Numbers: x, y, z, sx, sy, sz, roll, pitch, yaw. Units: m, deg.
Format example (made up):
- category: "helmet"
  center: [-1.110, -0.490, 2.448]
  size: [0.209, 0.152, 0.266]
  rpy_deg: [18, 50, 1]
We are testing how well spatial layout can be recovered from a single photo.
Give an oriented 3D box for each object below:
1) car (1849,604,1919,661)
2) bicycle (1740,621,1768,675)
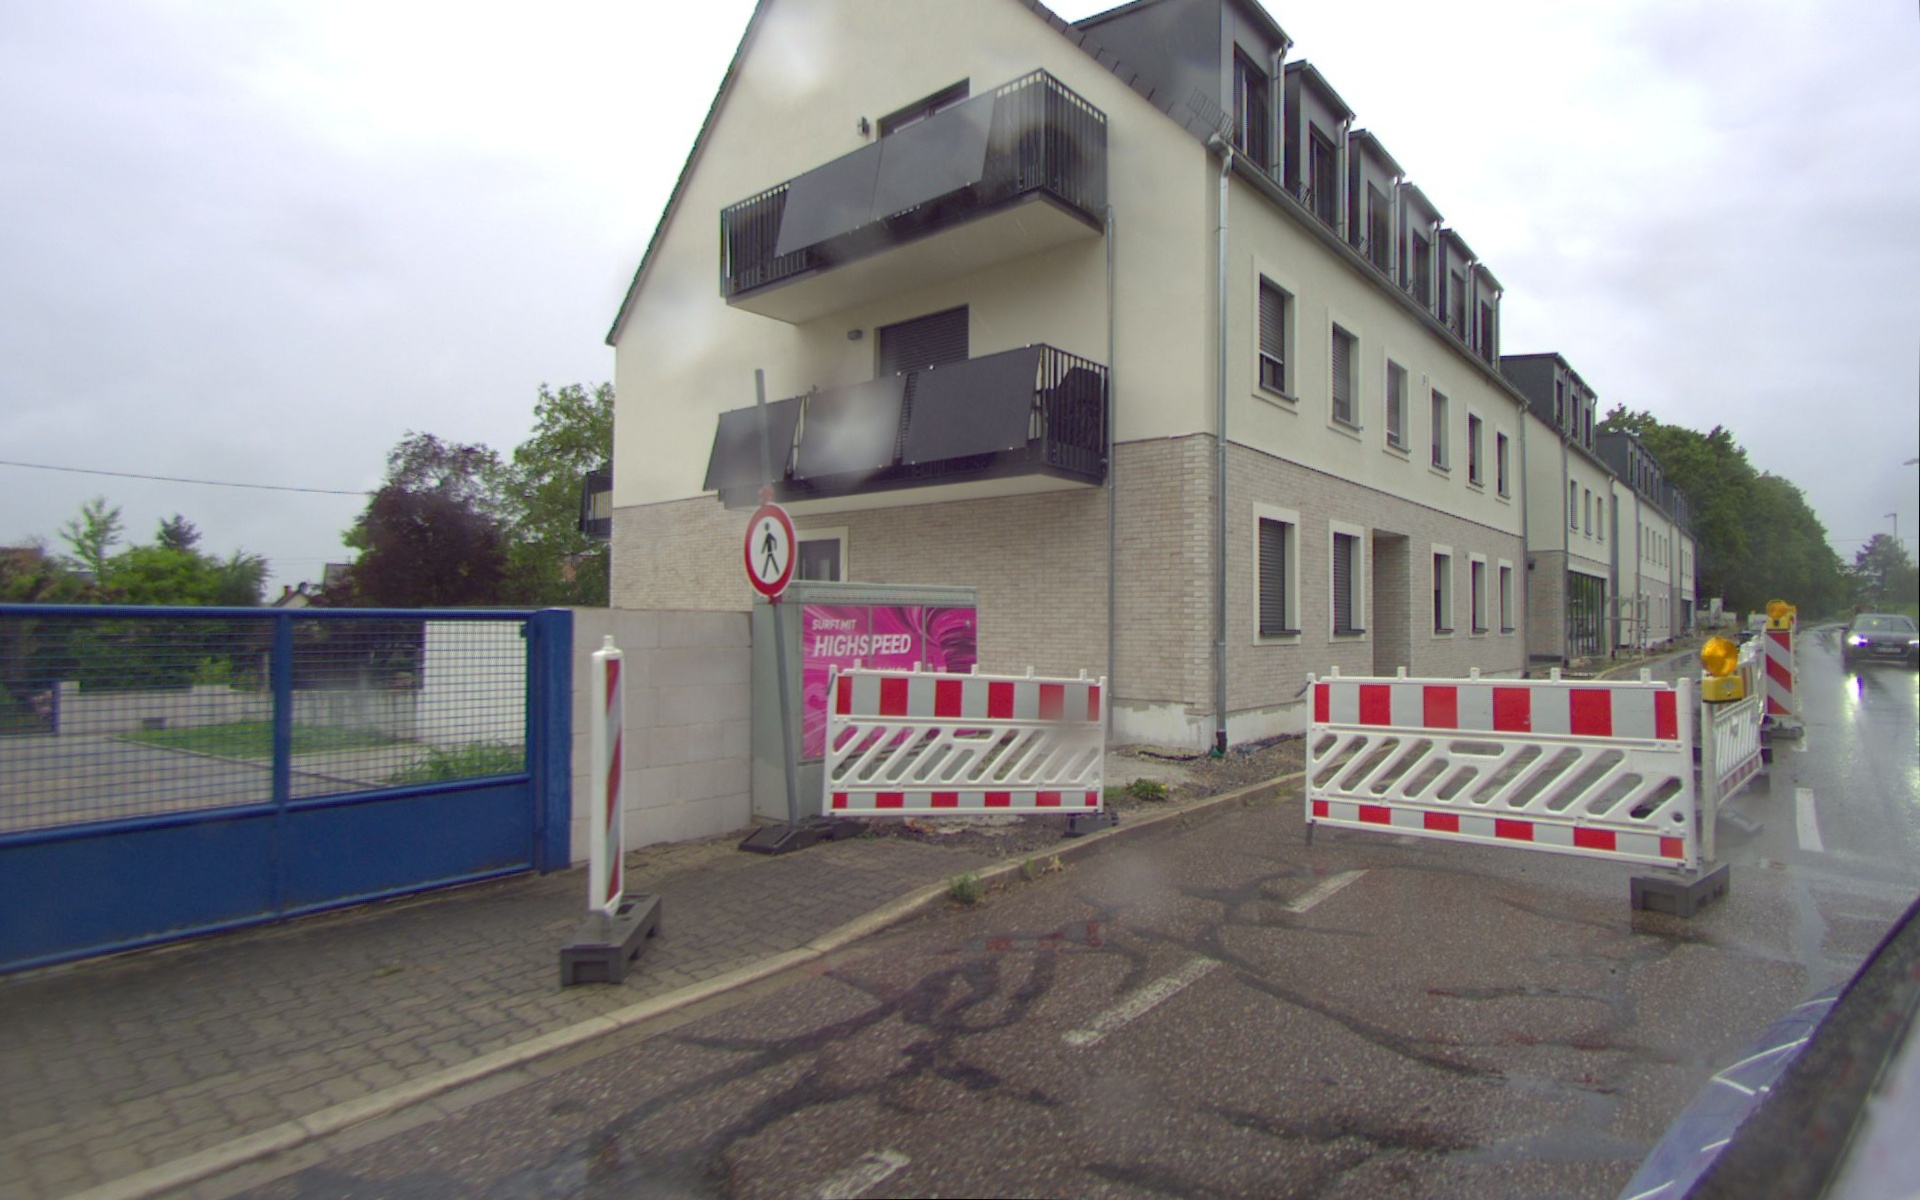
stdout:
- category: "car"
  center: [26.865, 0.883, 29.120]
  size: [1.845, 1.470, 4.465]
  rpy_deg: [1, 1, 40]
- category: "bicycle"
  center: [17.903, 1.072, 22.811]
  size: [0.405, 1.158, 1.202]
  rpy_deg: [0, 0, 42]
